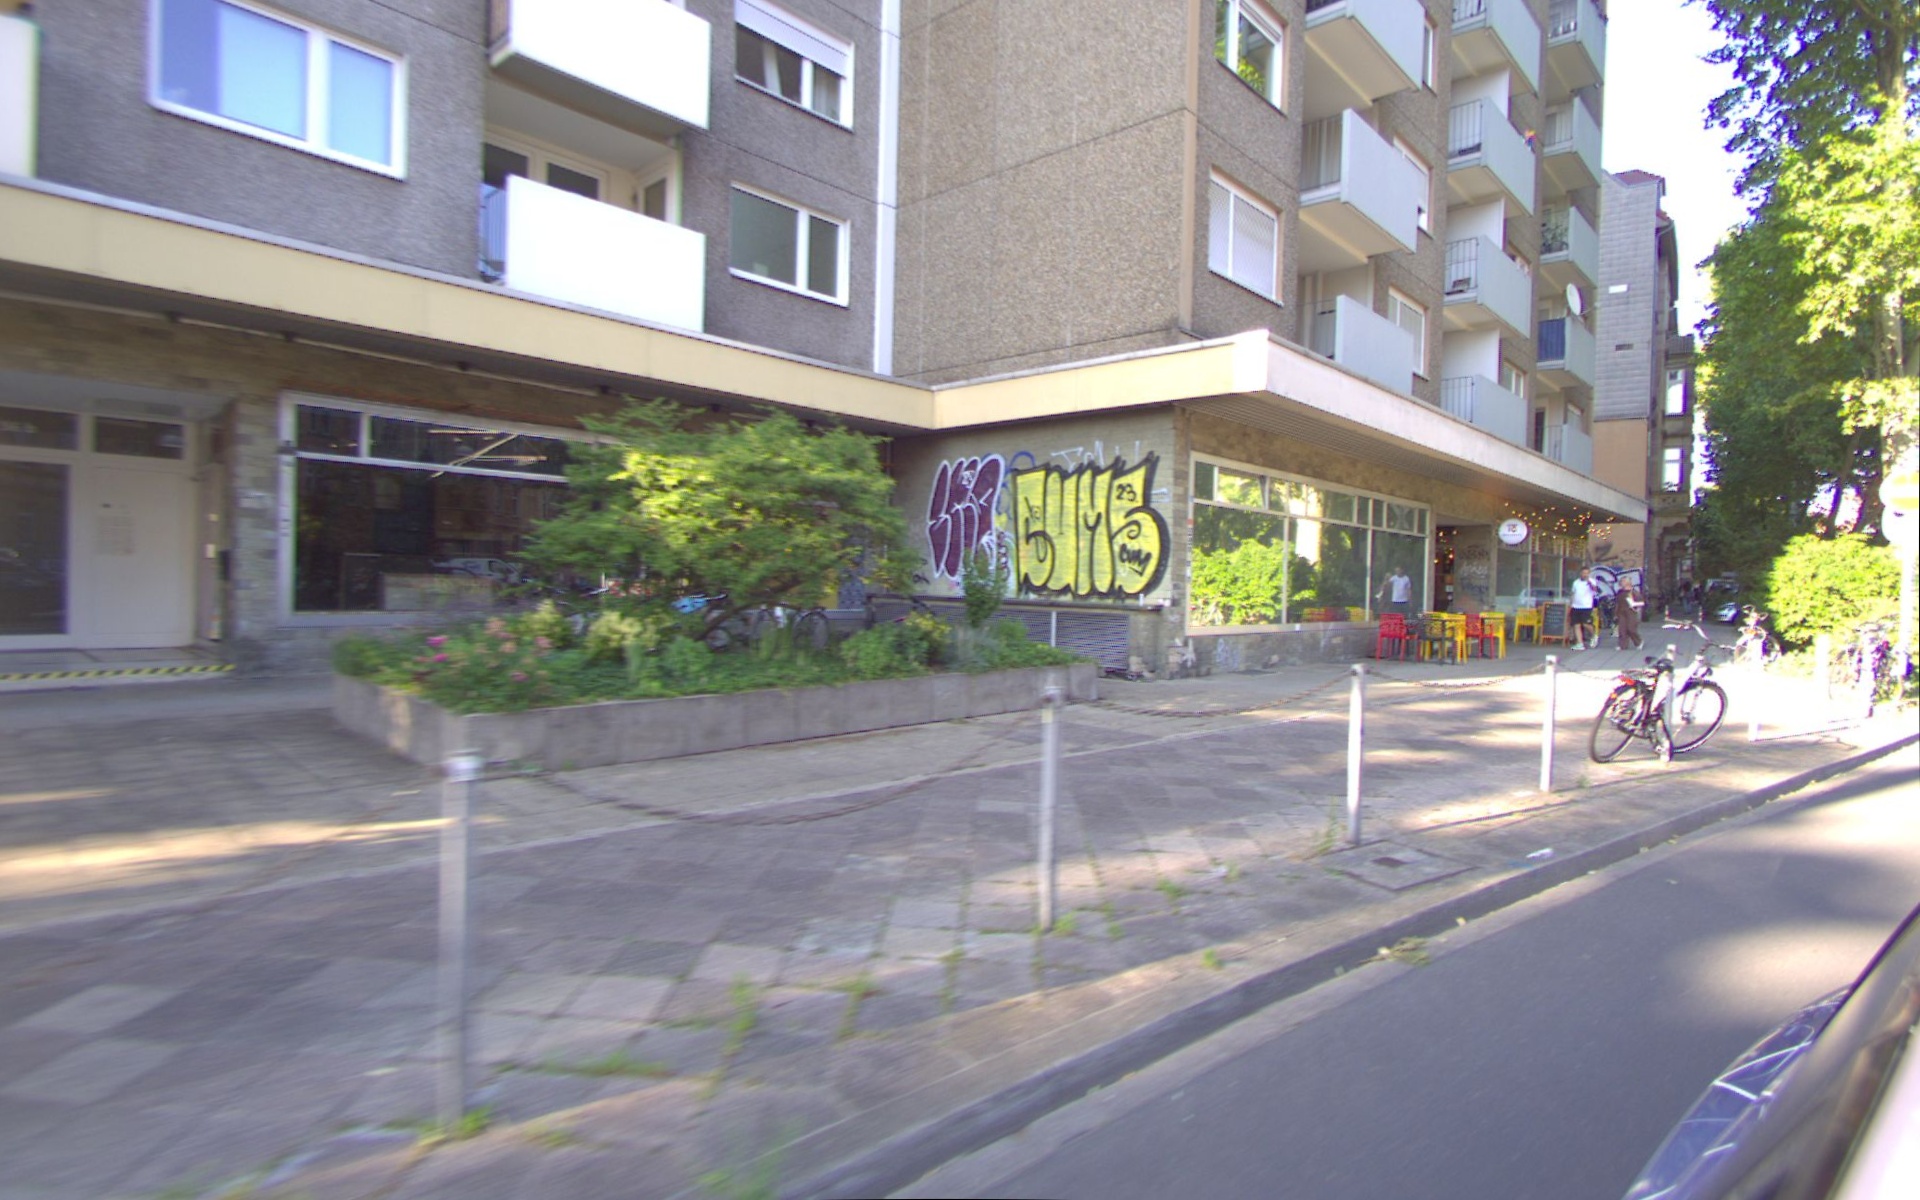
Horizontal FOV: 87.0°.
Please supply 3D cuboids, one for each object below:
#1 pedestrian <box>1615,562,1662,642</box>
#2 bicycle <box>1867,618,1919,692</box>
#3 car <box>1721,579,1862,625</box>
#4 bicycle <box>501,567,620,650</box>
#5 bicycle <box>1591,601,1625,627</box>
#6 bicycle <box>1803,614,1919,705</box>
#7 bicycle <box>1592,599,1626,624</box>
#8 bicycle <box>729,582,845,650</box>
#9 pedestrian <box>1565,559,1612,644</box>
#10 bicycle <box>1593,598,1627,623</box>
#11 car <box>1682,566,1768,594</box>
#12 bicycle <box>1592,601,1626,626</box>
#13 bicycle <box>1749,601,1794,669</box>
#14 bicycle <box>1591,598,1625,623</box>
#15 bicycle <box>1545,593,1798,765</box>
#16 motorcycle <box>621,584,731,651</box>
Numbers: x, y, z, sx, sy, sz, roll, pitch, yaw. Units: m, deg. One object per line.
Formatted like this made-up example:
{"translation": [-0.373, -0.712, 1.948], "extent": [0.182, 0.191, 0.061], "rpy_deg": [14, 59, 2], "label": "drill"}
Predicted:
{"translation": [14.789, 0.034, 22.065], "extent": [0.634, 1.713, 0.685], "rpy_deg": [0, 2, -44], "label": "pedestrian"}
{"translation": [13.111, 0.736, 14.024], "extent": [1.705, 0.916, 0.544], "rpy_deg": [0, 2, -40], "label": "bicycle"}
{"translation": [32.382, 0.042, 39.555], "extent": [3.972, 1.491, 1.715], "rpy_deg": [4, 3, 32], "label": "car"}
{"translation": [-4.867, 0.088, 12.379], "extent": [0.431, 0.954, 1.304], "rpy_deg": [3, 2, 42], "label": "bicycle"}
{"translation": [20.176, 0.426, 31.514], "extent": [0.889, 0.750, 0.269], "rpy_deg": [2, 2, 35], "label": "bicycle"}
{"translation": [11.512, 0.719, 12.628], "extent": [2.044, 1.035, 0.642], "rpy_deg": [1, 2, -23], "label": "bicycle"}
{"translation": [20.586, 0.346, 32.091], "extent": [0.889, 0.750, 0.269], "rpy_deg": [2, 2, 35], "label": "bicycle"}
{"translation": [-2.505, 0.210, 14.785], "extent": [0.642, 0.910, 1.627], "rpy_deg": [3, 2, 42], "label": "bicycle"}
{"translation": [13.667, 0.016, 22.024], "extent": [0.625, 1.795, 0.685], "rpy_deg": [0, 2, -44], "label": "pedestrian"}
{"translation": [20.780, 0.338, 32.378], "extent": [0.889, 0.750, 0.269], "rpy_deg": [2, 2, 35], "label": "bicycle"}
{"translation": [52.432, -1.399, 69.443], "extent": [4.452, 1.650, 1.715], "rpy_deg": [4, 3, 33], "label": "car"}
{"translation": [20.386, 0.419, 31.796], "extent": [0.889, 0.750, 0.269], "rpy_deg": [2, 2, 35], "label": "bicycle"}
{"translation": [13.160, 0.547, 16.407], "extent": [1.034, 1.051, 0.349], "rpy_deg": [0, 2, -40], "label": "bicycle"}
{"translation": [20.908, 0.330, 32.661], "extent": [0.889, 0.750, 0.269], "rpy_deg": [2, 2, 35], "label": "bicycle"}
{"translation": [5.726, 0.592, 8.127], "extent": [2.044, 1.241, 0.642], "rpy_deg": [1, 2, -23], "label": "bicycle"}
{"translation": [-3.662, 0.207, 13.135], "extent": [0.431, 0.804, 1.347], "rpy_deg": [3, 2, 42], "label": "motorcycle"}
